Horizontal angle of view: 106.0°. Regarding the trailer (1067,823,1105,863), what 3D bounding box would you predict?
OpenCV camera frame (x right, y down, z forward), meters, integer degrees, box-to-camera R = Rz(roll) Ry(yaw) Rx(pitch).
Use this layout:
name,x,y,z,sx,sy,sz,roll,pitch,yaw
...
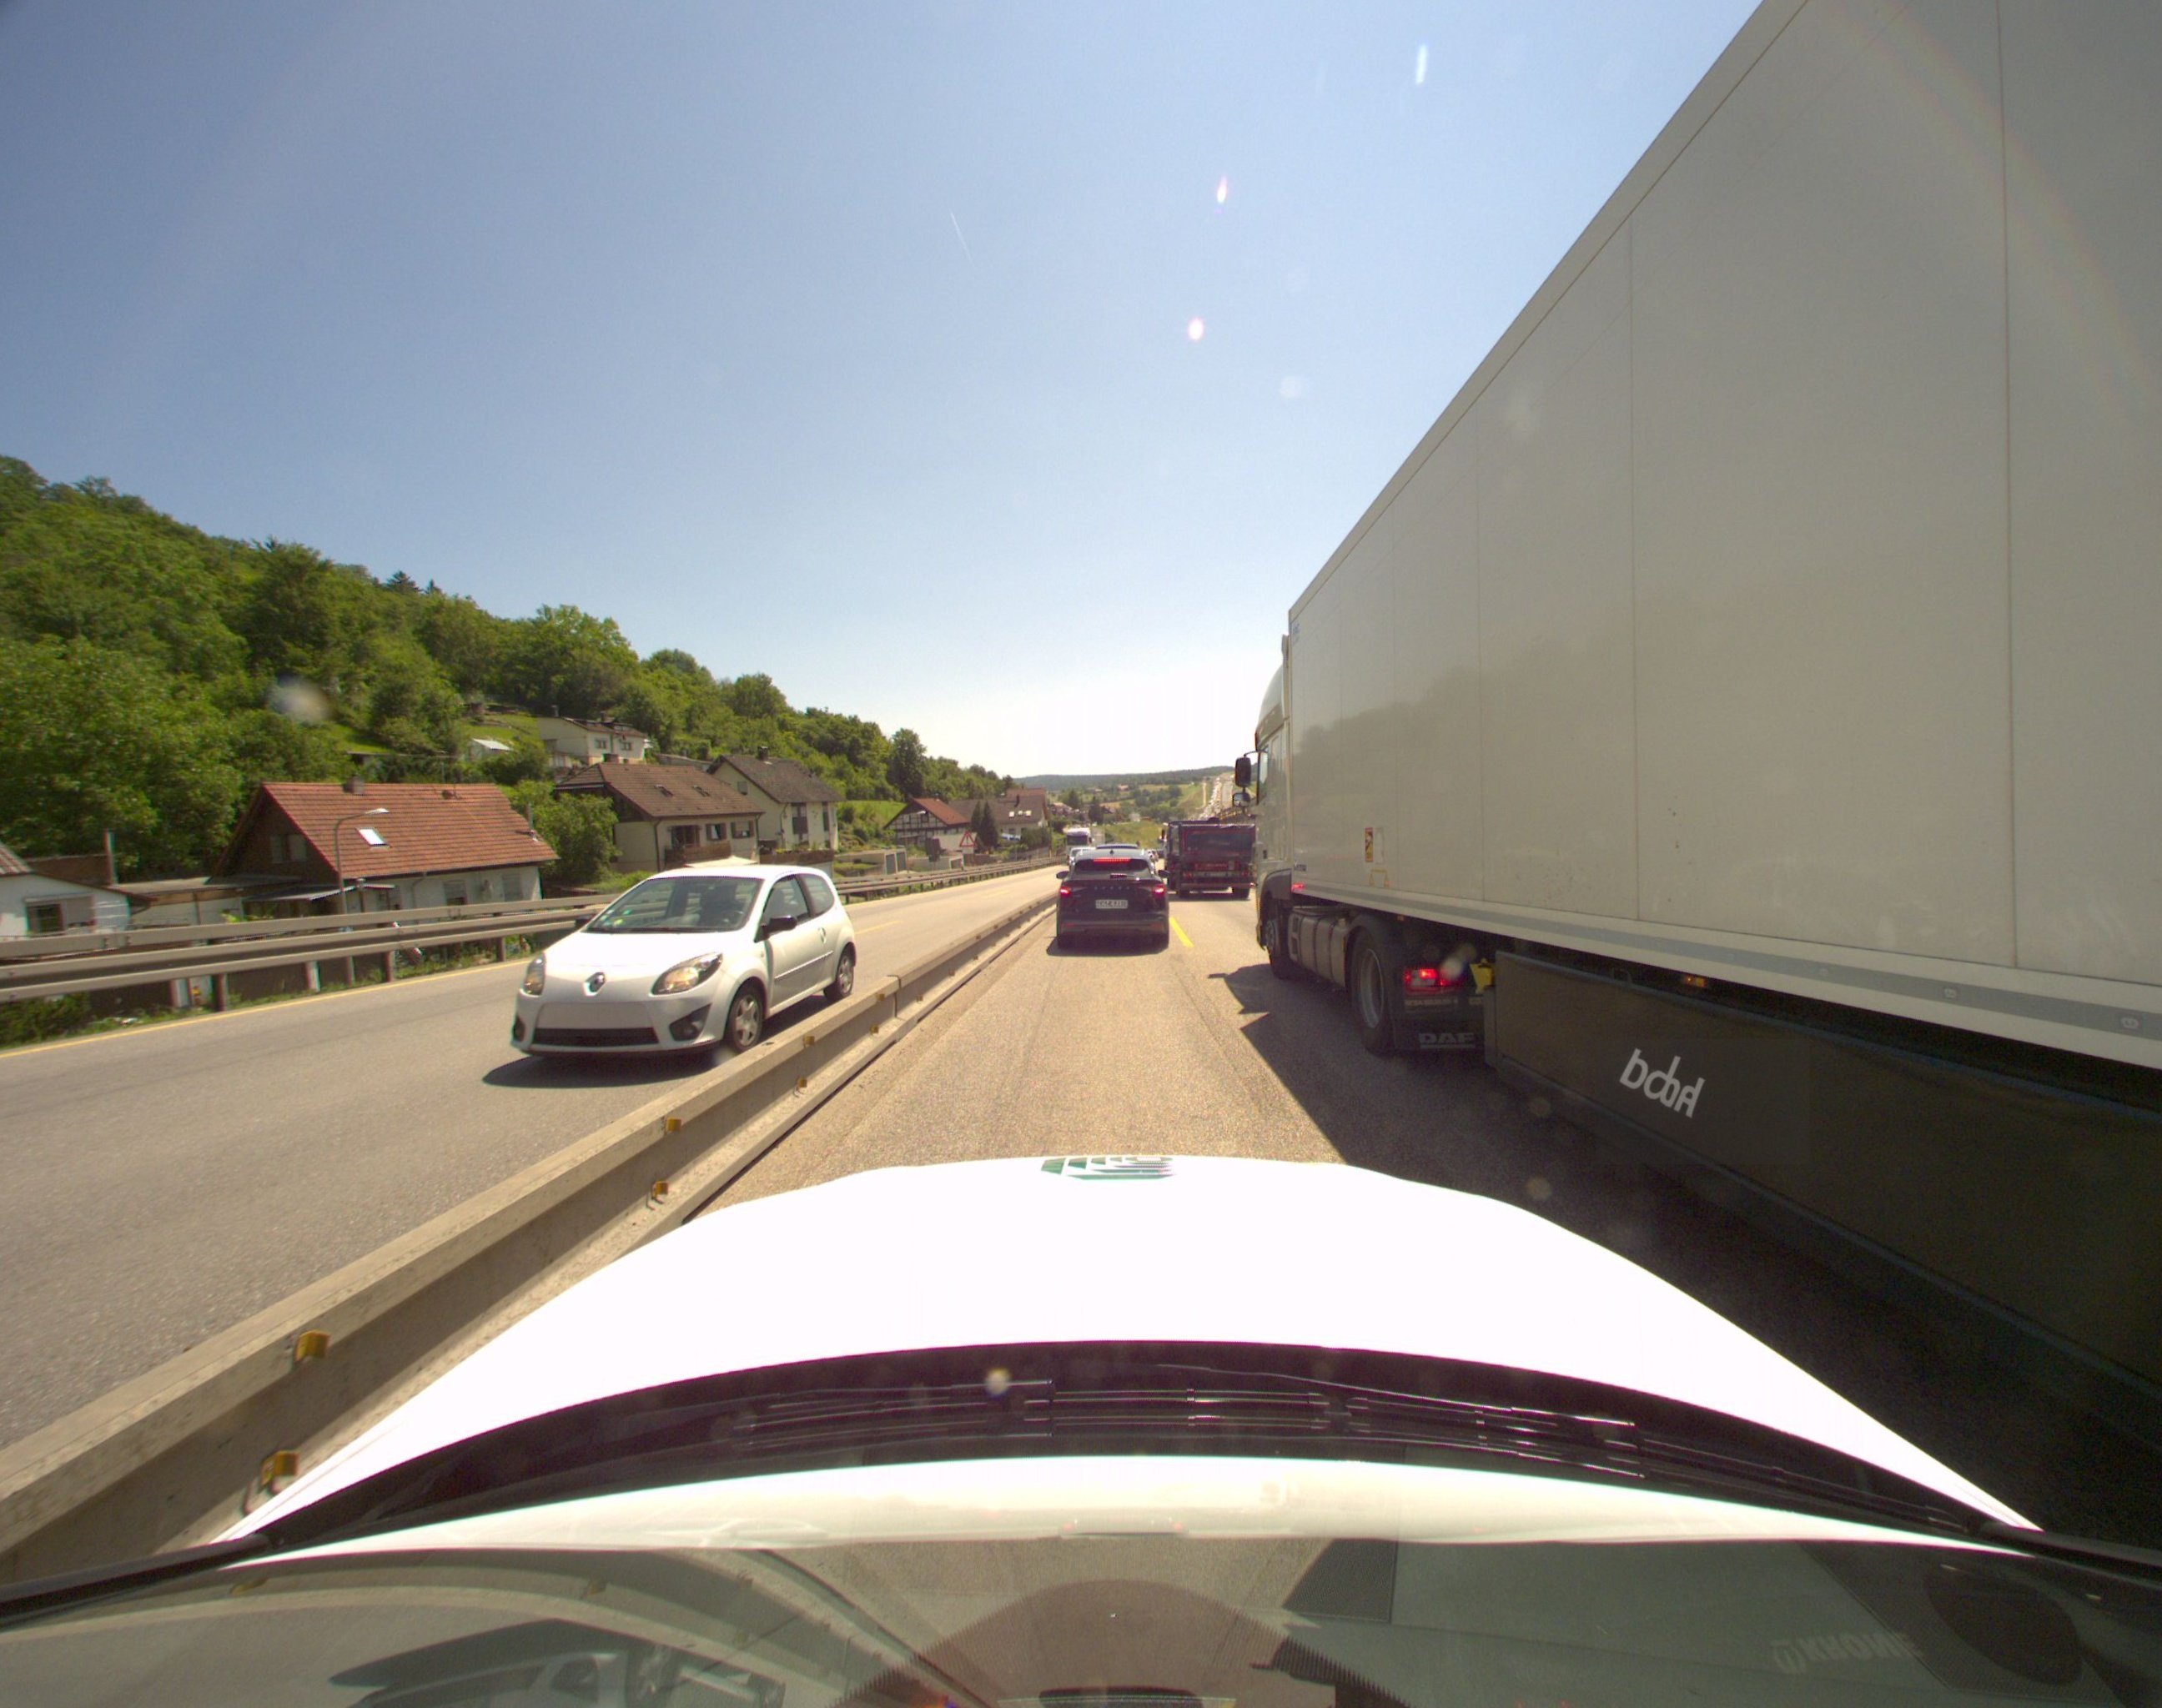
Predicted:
name,x,y,z,sx,sy,sz,roll,pitch,yaw
trailer,0.721,-1.116,94.273,3.237,4.378,14.076,0,-1,5

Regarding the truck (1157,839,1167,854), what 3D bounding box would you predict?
name,x,y,z,sx,sy,sz,roll,pitch,yaw
truck,24.413,-2.242,245.541,2.737,4.283,4.968,0,0,8

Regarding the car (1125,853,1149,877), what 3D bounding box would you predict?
name,x,y,z,sx,sy,sz,roll,pitch,yaw
car,4.204,0.797,60.739,1.699,1.622,4.005,0,1,4

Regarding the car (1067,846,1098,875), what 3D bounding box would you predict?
name,x,y,z,sx,sy,sz,roll,pitch,yaw
car,0.175,0.476,59.842,1.986,2.011,4.860,-2,-1,2

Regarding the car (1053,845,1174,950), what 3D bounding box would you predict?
name,x,y,z,sx,sy,sz,roll,pitch,yaw
car,0.533,0.676,14.276,1.836,1.586,3.908,0,-1,1

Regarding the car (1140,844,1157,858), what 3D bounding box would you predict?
name,x,y,z,sx,sy,sz,roll,pitch,yaw
car,8.359,-0.359,100.292,1.984,1.585,3.842,0,-1,5

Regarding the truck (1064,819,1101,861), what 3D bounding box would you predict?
name,x,y,z,sx,sy,sz,roll,pitch,yaw
truck,0.215,-1.448,88.663,3.287,4.362,8.312,0,-1,5

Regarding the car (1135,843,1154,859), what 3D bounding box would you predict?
name,x,y,z,sx,sy,sz,roll,pitch,yaw
car,6.775,-0.315,86.531,1.984,1.585,3.842,0,-1,5

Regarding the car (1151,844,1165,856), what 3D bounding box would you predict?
name,x,y,z,sx,sy,sz,roll,pitch,yaw
car,11.070,-0.576,116.988,1.690,1.728,3.846,0,-1,9

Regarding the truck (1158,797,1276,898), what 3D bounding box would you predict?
name,x,y,z,sx,sy,sz,roll,pitch,yaw
truck,4.944,-0.144,32.389,3.182,3.191,12.818,0,-1,3

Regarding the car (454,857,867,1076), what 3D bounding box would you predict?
name,x,y,z,sx,sy,sz,roll,pitch,yaw
car,-3.379,0.781,7.460,1.740,1.426,3.711,-1,1,1

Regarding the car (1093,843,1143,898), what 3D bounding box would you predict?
name,x,y,z,sx,sy,sz,roll,pitch,yaw
car,1.315,0.549,30.030,1.701,1.881,4.001,0,1,1

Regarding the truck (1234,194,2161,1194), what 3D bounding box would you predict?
name,x,y,z,sx,sy,sz,roll,pitch,yaw
truck,3.349,-0.626,7.388,2.504,4.025,8.238,0,-1,1

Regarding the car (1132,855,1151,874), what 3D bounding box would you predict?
name,x,y,z,sx,sy,sz,roll,pitch,yaw
car,5.642,0.931,76.108,1.699,1.622,4.005,0,1,4

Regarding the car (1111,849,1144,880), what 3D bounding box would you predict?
name,x,y,z,sx,sy,sz,roll,pitch,yaw
car,2.584,0.553,45.912,1.701,1.622,4.001,0,1,1
